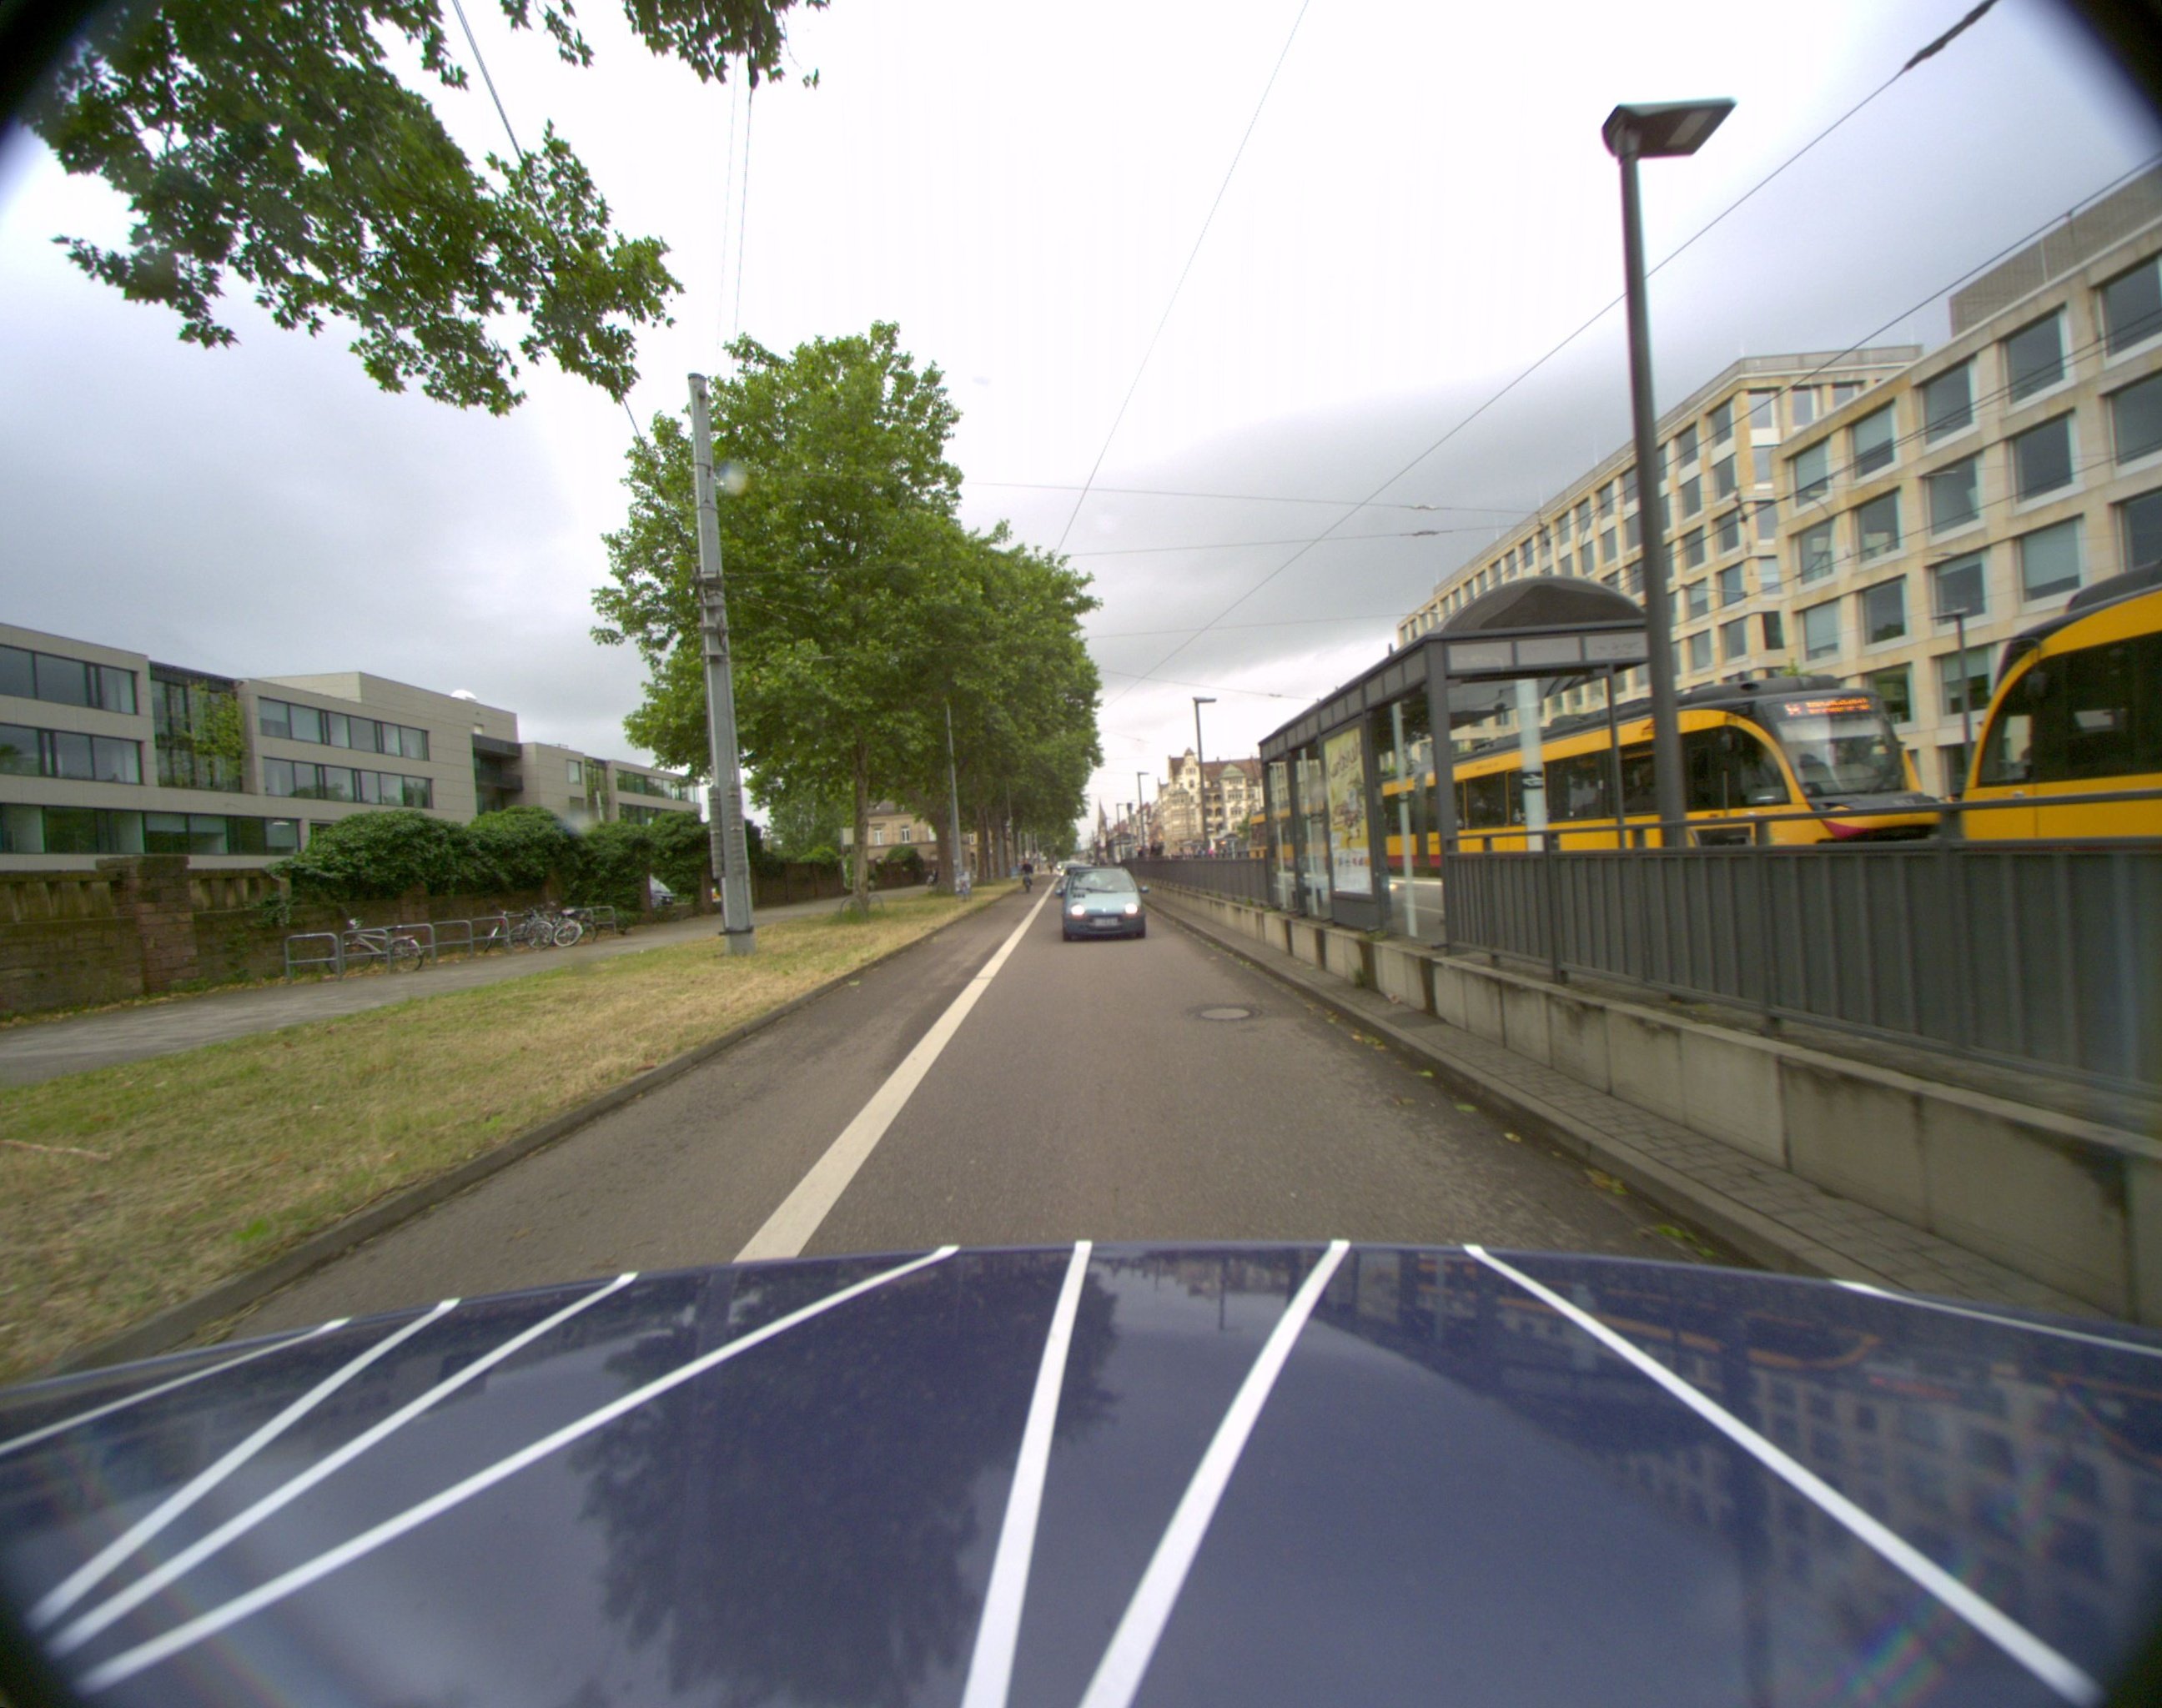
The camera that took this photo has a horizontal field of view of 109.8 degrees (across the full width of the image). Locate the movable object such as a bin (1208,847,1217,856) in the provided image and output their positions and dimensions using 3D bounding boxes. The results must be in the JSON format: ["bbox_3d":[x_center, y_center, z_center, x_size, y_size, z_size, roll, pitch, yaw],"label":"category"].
[{"bbox_3d":[15.005,-0.254,86.782,0.622,1.015,0.721,-5,1,-34],"label":"movable object such as a bin"}]

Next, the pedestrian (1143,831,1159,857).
[{"bbox_3d":[4.868,-0.706,53.081,0.672,1.783,1.112,-4,1,-14],"label":"pedestrian"}]

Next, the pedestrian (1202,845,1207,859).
[{"bbox_3d":[14.321,-0.270,88.113,0.536,1.598,0.565,-4,1,6],"label":"pedestrian"}]

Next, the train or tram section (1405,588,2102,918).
[{"bbox_3d":[11.847,-1.385,16.882,3.188,4.154,13.618,-4,0,0],"label":"train or tram section"}]

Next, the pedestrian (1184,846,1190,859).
[{"bbox_3d":[14.168,-0.212,101.724,0.596,1.759,0.588,-4,1,7],"label":"pedestrian"}]

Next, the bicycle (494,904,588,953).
[{"bbox_3d":[-13.612,1.863,19.172,1.905,1.091,0.550,-2,1,-2],"label":"bicycle"}]

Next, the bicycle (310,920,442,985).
[{"bbox_3d":[-13.513,1.882,14.593,1.927,1.085,0.550,-2,1,-2],"label":"bicycle"}]

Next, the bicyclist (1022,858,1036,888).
[{"bbox_3d":[-2.787,1.009,40.881,0.642,1.522,0.664,-4,1,-2],"label":"bicyclist"}]

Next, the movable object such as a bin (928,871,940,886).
[{"bbox_3d":[-11.808,1.969,61.196,0.613,1.105,1.015,-4,0,5],"label":"movable object such as a bin"}]

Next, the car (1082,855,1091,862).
[{"bbox_3d":[1.288,1.145,187.170,1.869,1.630,3.774,-4,1,-2],"label":"car"}]

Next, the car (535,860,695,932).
[{"bbox_3d":[-19.870,1.750,32.599,5.246,2.407,2.075,-6,1,-3],"label":"car"}]

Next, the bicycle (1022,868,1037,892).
[{"bbox_3d":[-2.754,1.396,40.775,0.654,1.143,2.282,-4,1,-2],"label":"bicycle"}]

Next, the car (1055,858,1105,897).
[{"bbox_3d":[-0.044,1.007,33.953,1.999,1.443,4.099,-4,0,0],"label":"car"}]

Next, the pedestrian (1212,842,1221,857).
[{"bbox_3d":[15.515,-0.506,87.087,0.580,1.598,0.655,-5,1,-34],"label":"pedestrian"}]

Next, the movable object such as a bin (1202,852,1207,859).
[{"bbox_3d":[14.416,0.180,88.634,0.536,0.743,0.469,-4,1,6],"label":"movable object such as a bin"}]

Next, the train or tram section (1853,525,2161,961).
[{"bbox_3d":[11.950,-1.112,2.712,3.188,4.154,14.732,-4,0,0],"label":"train or tram section"}]

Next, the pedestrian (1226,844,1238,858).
[{"bbox_3d":[16.334,-0.324,82.059,1.040,1.364,0.939,-4,1,2],"label":"pedestrian"}]

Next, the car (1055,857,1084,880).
[{"bbox_3d":[-0.845,1.032,56.295,1.999,1.443,4.099,-4,0,0],"label":"car"}]

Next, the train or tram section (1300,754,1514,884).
[{"bbox_3d":[11.823,-1.133,29.422,3.171,3.839,11.309,-4,0,0],"label":"train or tram section"}]

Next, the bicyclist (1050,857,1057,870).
[{"bbox_3d":[-3.510,1.220,97.344,0.812,1.591,1.189,-4,1,-2],"label":"bicyclist"}]

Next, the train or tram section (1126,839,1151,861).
[{"bbox_3d":[10.259,-0.763,137.362,2.862,3.670,13.517,-4,0,-1],"label":"train or tram section"}]

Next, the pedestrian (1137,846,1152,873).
[{"bbox_3d":[4.317,0.398,51.747,0.672,1.783,1.112,-4,1,-9],"label":"pedestrian"}]

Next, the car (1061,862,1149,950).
[{"bbox_3d":[0.463,0.975,15.569,1.534,1.464,3.353,-3,1,1],"label":"car"}]

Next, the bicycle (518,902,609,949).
[{"bbox_3d":[-13.475,1.857,19.814,1.895,1.098,0.550,-2,1,-2],"label":"bicycle"}]

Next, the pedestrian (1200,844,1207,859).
[{"bbox_3d":[15.412,-0.306,95.686,0.589,1.759,0.596,-5,1,-37],"label":"pedestrian"}]

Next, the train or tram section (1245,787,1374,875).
[{"bbox_3d":[11.798,-1.100,40.801,3.246,3.839,11.309,-4,0,0],"label":"train or tram section"}]

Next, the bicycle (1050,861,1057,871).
[{"bbox_3d":[-3.482,1.572,97.381,0.815,1.163,2.276,-4,1,-2],"label":"bicycle"}]

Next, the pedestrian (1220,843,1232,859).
[{"bbox_3d":[16.041,-0.354,84.057,1.040,1.676,0.939,-4,1,2],"label":"pedestrian"}]

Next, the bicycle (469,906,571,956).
[{"bbox_3d":[-13.667,1.868,18.533,1.980,1.088,0.550,-2,1,-2],"label":"bicycle"}]

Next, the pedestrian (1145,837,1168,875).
[{"bbox_3d":[4.225,0.103,42.540,1.061,2.002,0.840,-4,1,0],"label":"pedestrian"}]
